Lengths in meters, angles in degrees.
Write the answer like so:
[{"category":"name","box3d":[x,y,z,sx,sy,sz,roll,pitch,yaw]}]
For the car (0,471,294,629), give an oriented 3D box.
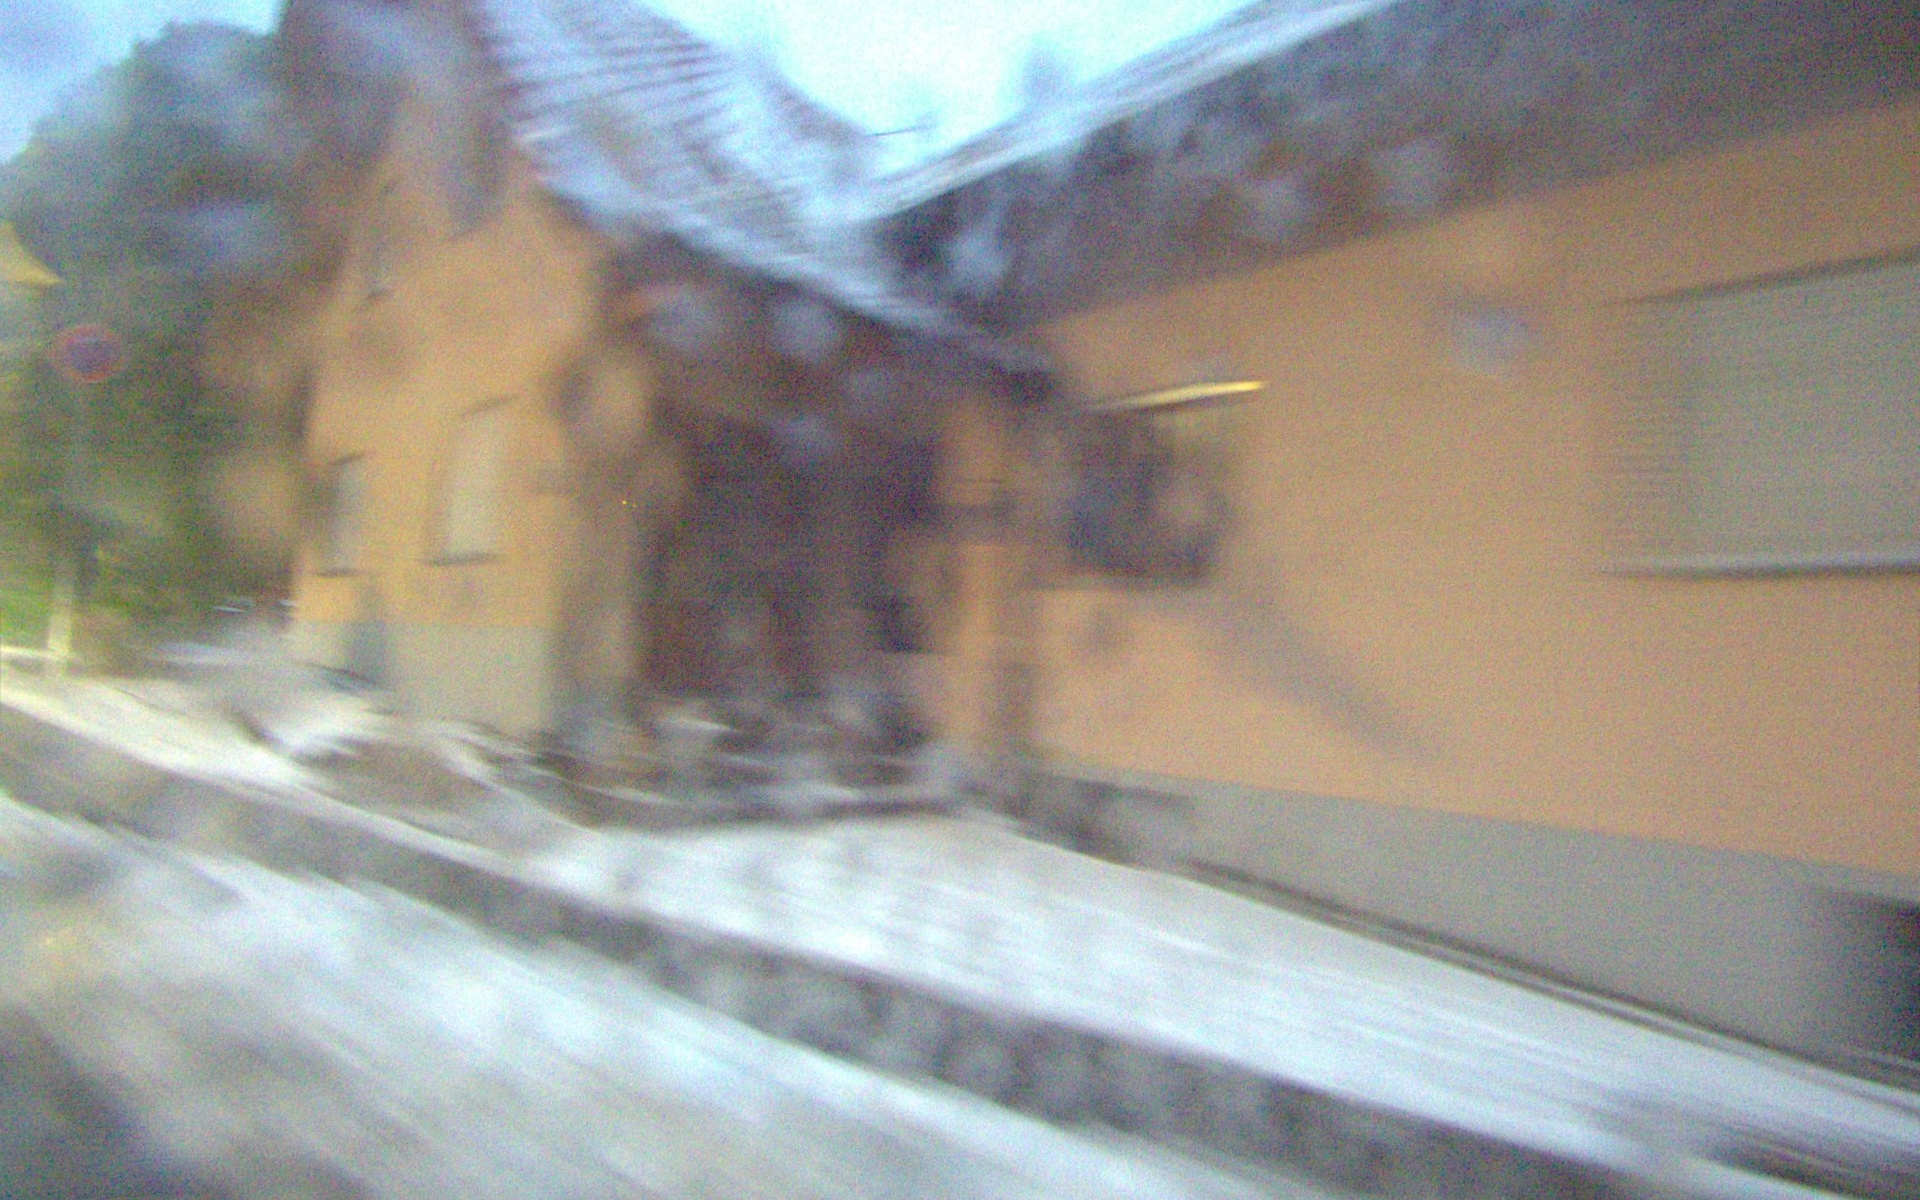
[{"category":"car","box3d":[-11.320,-0.628,13.059,1.813,1.711,3.994,5,-1,28]}]
